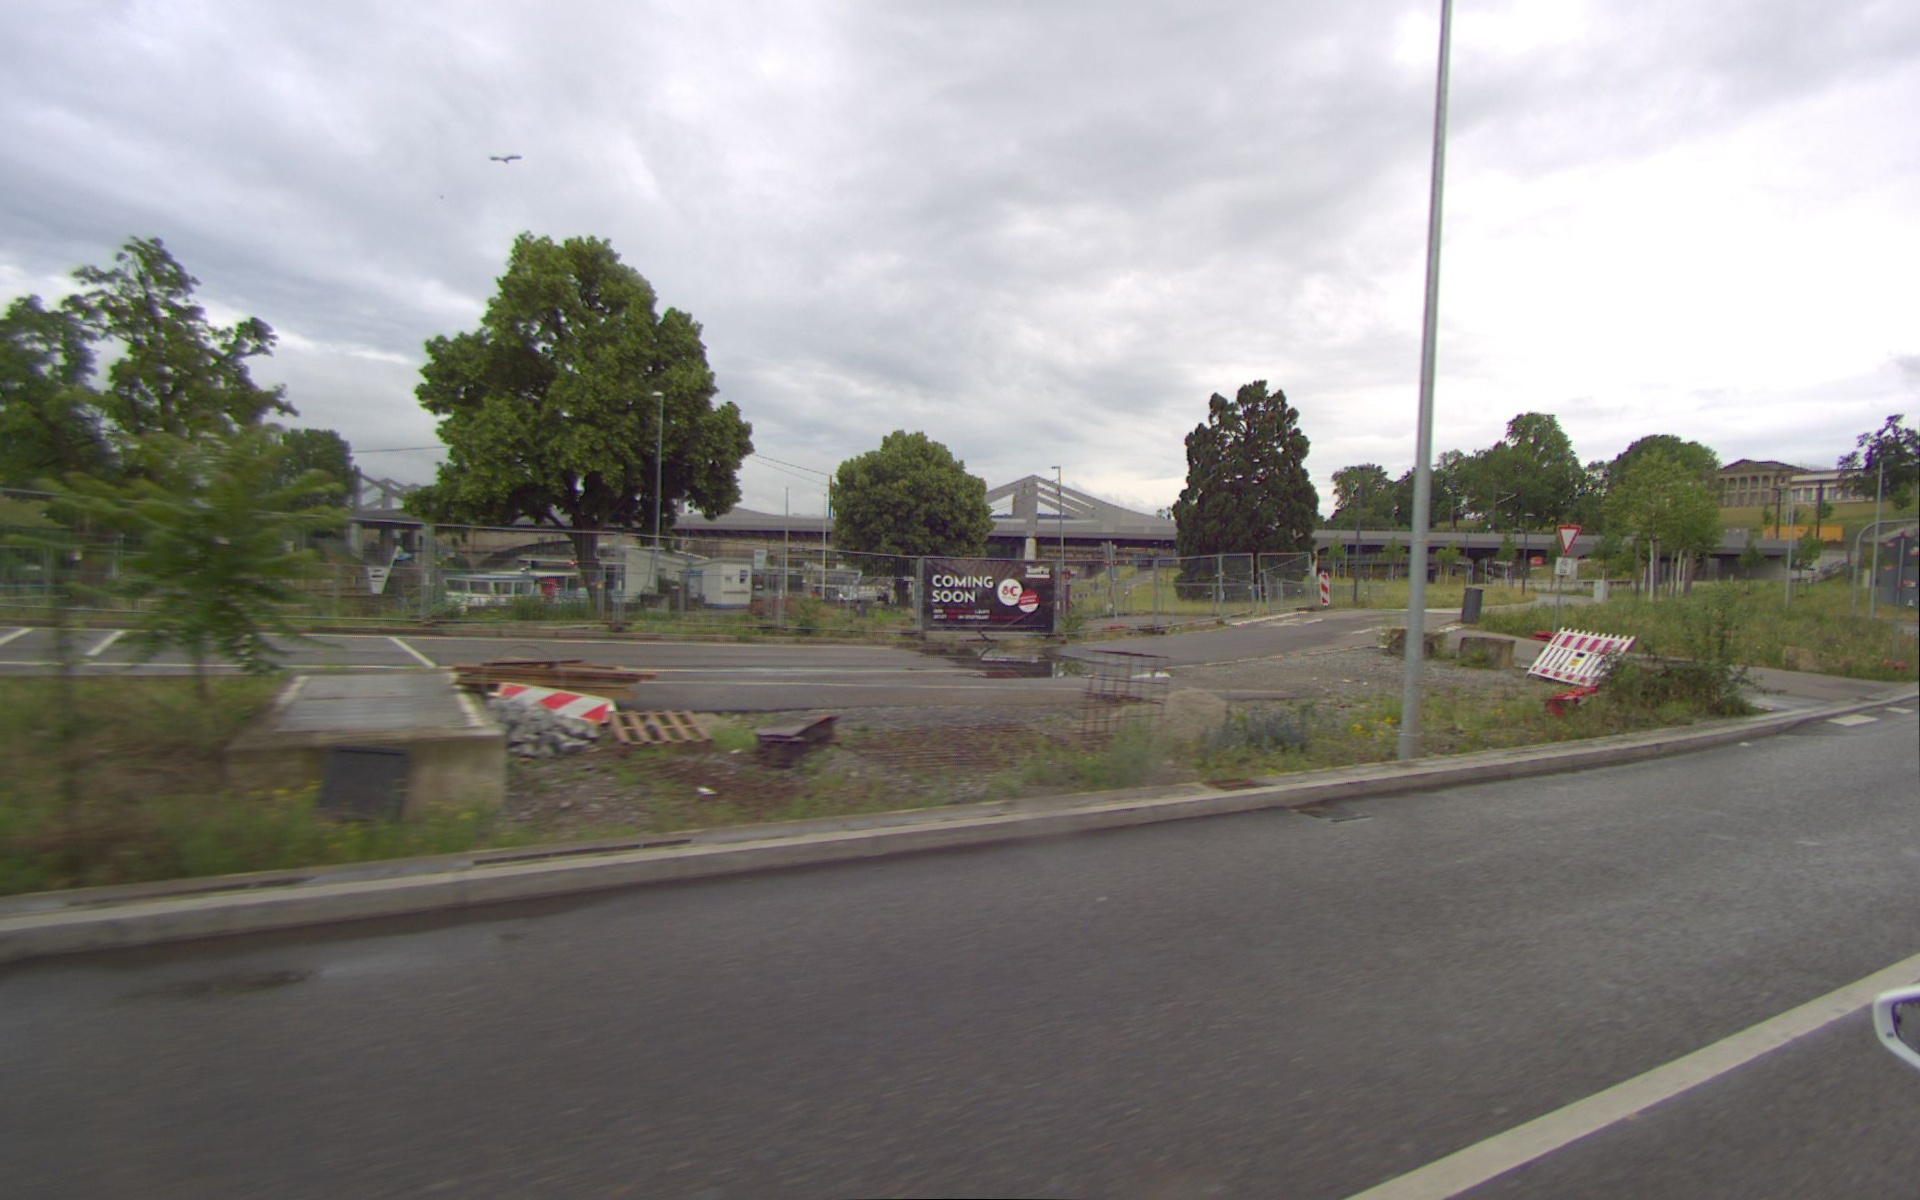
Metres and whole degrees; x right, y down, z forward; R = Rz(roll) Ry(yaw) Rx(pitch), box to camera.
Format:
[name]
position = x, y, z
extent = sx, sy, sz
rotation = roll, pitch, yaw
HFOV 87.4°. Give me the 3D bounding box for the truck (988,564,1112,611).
[truck]
position = 6.024, -0.867, 67.519
extent = 7.808, 2.840, 2.422
rotation = 2, 2, 23
